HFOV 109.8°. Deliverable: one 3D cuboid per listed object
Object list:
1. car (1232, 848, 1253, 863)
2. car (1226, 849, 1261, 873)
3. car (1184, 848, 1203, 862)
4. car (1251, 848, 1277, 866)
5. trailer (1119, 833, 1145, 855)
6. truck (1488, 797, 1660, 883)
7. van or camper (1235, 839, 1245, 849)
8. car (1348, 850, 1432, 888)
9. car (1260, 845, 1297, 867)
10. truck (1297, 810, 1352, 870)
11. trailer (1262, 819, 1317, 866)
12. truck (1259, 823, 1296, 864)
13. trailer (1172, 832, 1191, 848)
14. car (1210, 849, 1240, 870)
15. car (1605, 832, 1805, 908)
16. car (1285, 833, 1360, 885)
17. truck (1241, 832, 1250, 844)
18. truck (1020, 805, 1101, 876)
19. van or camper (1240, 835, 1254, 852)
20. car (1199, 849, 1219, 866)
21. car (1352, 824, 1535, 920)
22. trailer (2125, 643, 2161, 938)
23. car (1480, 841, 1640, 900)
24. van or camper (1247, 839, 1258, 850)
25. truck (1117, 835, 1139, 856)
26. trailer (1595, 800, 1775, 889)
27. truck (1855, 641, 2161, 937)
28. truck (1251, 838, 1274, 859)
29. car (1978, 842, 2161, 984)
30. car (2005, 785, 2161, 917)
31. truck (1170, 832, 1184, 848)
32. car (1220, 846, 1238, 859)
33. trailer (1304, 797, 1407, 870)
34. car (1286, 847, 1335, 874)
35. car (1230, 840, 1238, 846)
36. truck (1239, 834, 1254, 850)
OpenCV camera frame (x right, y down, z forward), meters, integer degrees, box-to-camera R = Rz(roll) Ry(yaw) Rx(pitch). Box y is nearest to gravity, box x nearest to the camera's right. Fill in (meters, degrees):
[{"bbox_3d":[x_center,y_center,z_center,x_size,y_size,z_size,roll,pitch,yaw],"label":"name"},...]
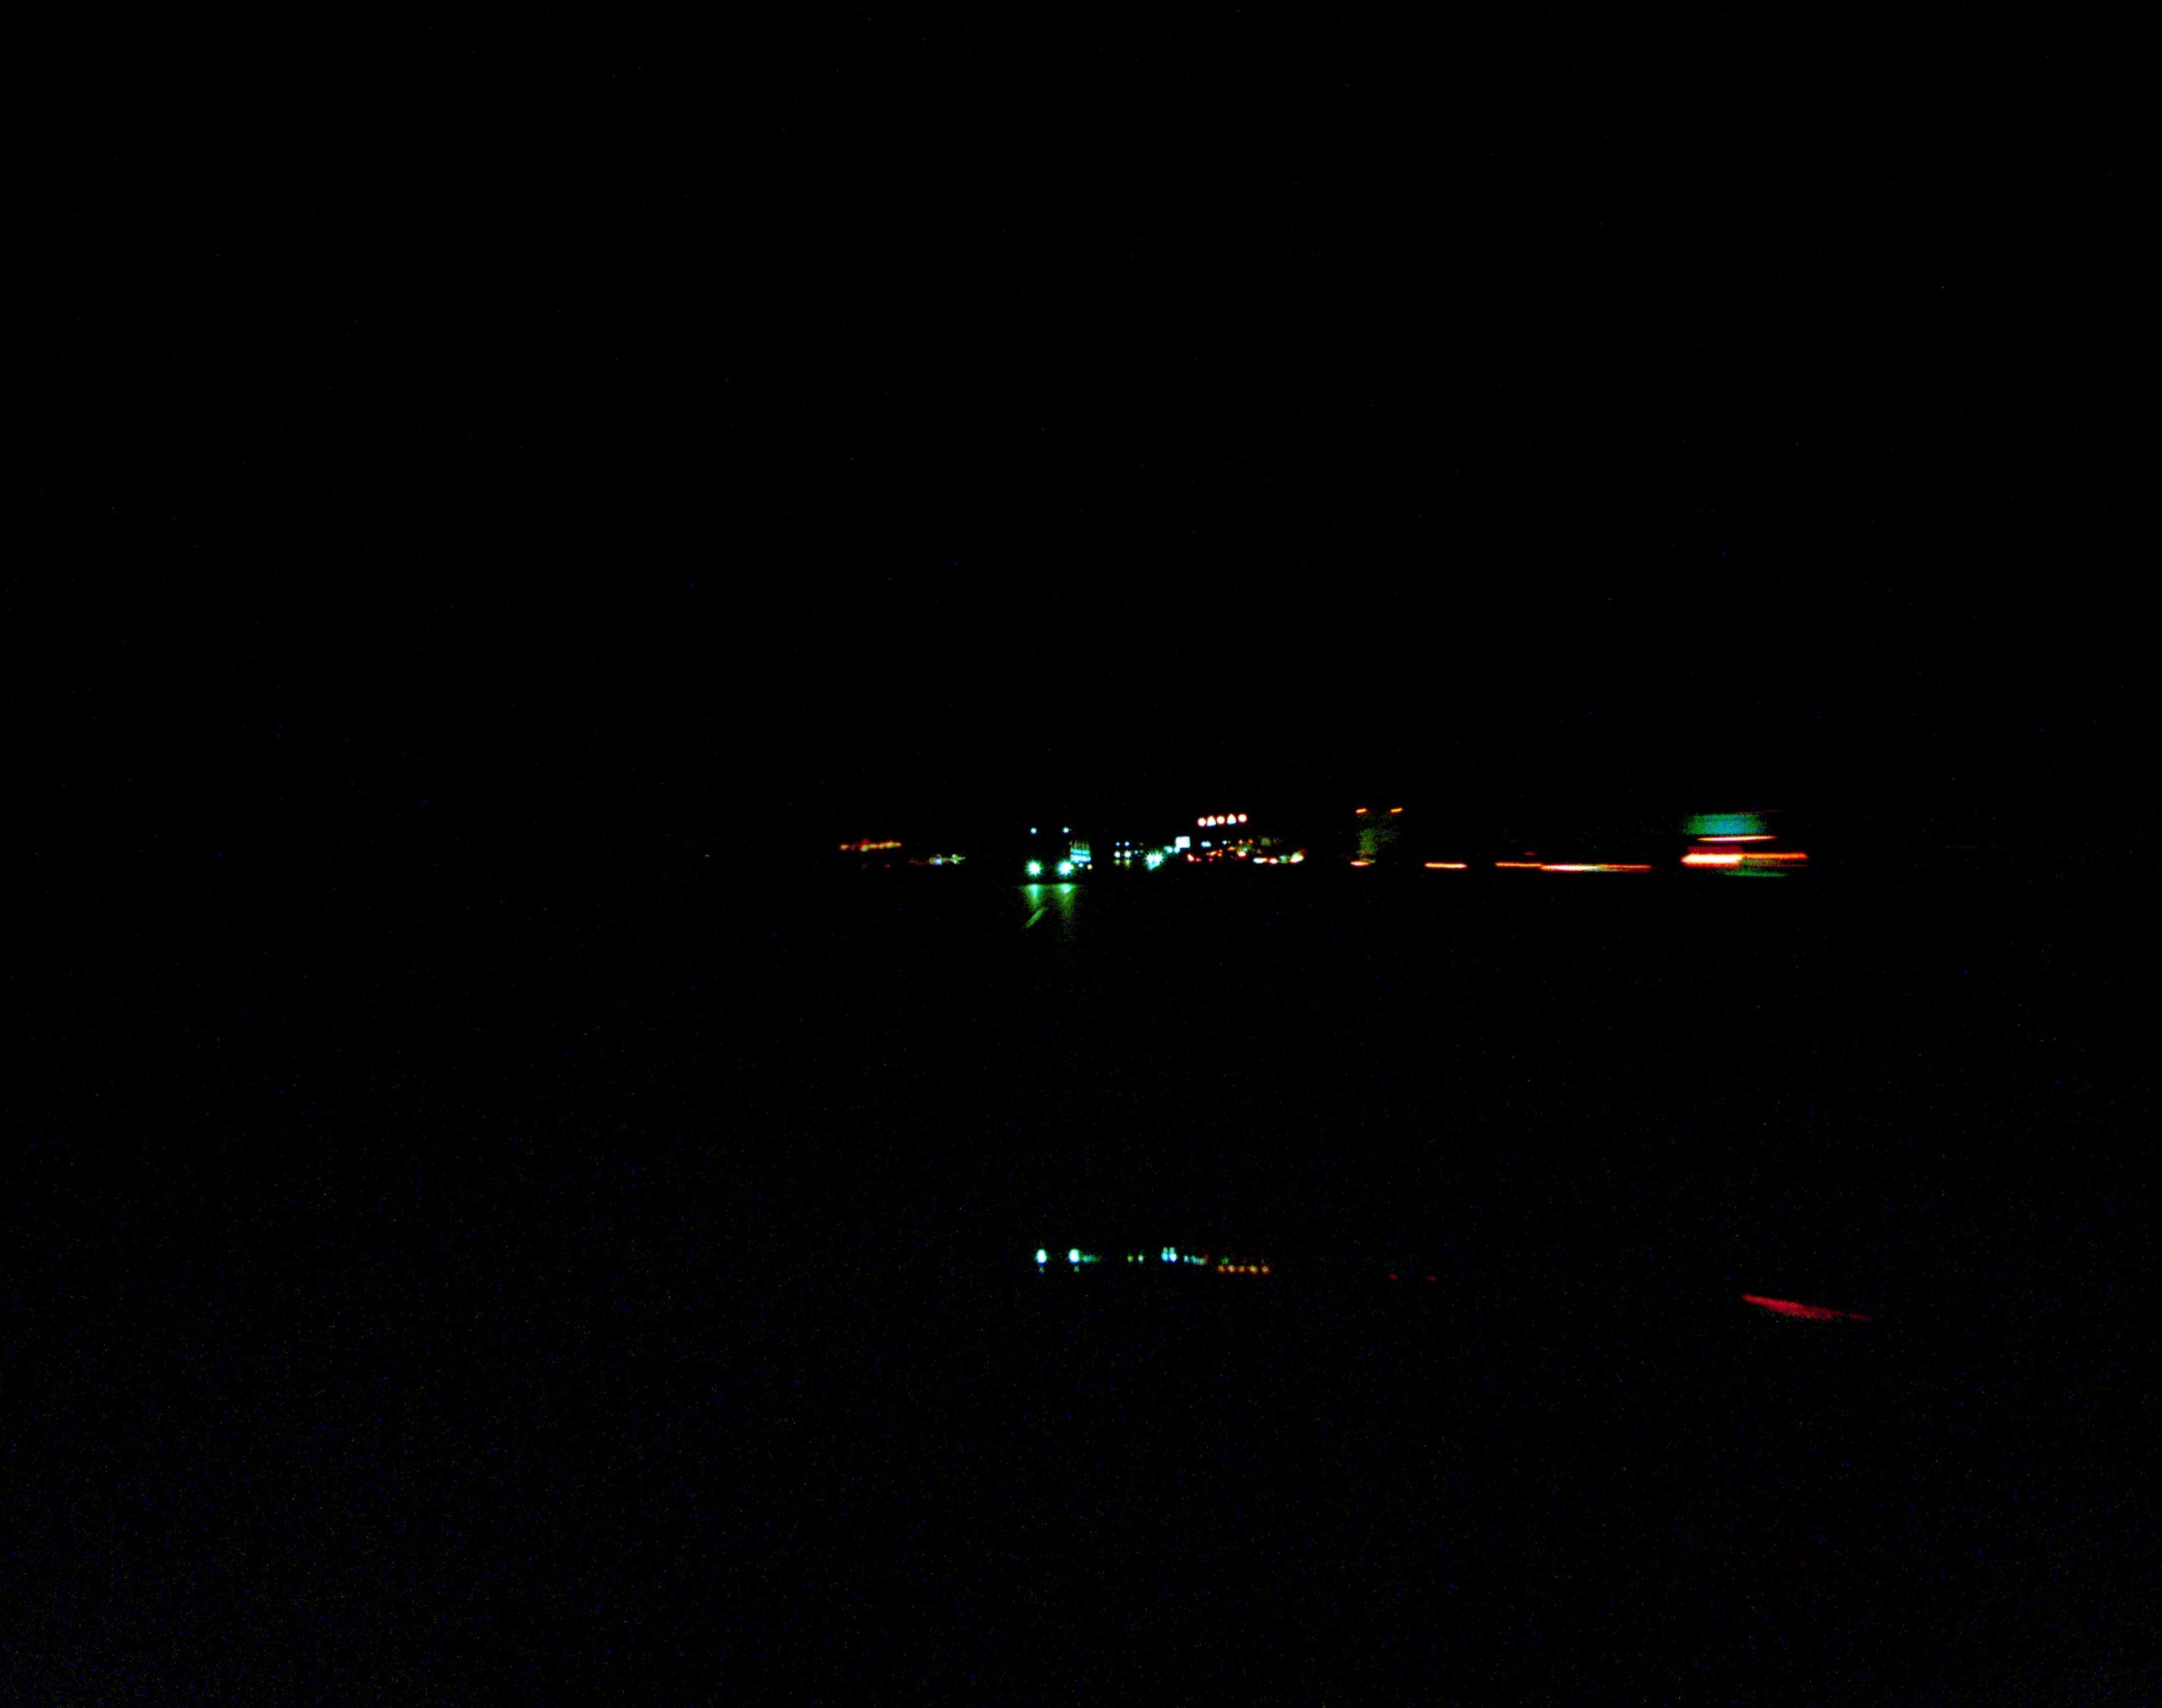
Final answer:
[{"bbox_3d":[17.161,0.167,80.772,1.907,1.483,4.870,-2,1,9],"label":"car"},{"bbox_3d":[10.743,0.418,50.518,1.629,1.483,4.869,-2,0,5],"label":"car"},{"bbox_3d":[13.282,0.095,89.623,1.907,1.483,4.871,-2,1,12],"label":"car"},{"bbox_3d":[17.148,0.242,71.283,1.907,1.483,5.262,-2,1,9],"label":"car"},{"bbox_3d":[10.726,-2.120,158.516,2.878,3.910,12.893,-3,3,14],"label":"trailer"},{"bbox_3d":[20.840,-0.551,32.802,2.500,3.200,7.914,-1,0,2],"label":"truck"},{"bbox_3d":[43.137,-2.631,206.199,2.258,2.580,6.691,0,2,14],"label":"van or camper"},{"bbox_3d":[13.536,0.612,33.608,1.908,1.483,4.868,-2,1,3],"label":"car"},{"bbox_3d":[14.652,0.130,56.474,1.908,1.483,4.869,-2,0,6],"label":"car"},{"bbox_3d":[19.035,-1.069,59.626,2.622,4.244,5.959,-4,1,5],"label":"truck"},{"bbox_3d":[20.684,-1.078,76.345,2.881,4.159,14.528,-2,0,6],"label":"trailer"},{"bbox_3d":[21.450,-1.137,83.218,2.871,4.186,6.108,-2,1,5],"label":"truck"},{"bbox_3d":[27.901,-4.037,210.459,2.837,3.953,15.775,-3,2,15],"label":"trailer"},{"bbox_3d":[11.783,0.416,62.259,1.908,1.483,4.869,-2,1,5],"label":"car"},{"bbox_3d":[16.632,0.388,20.597,1.998,1.800,4.320,-2,0,3],"label":"car"},{"bbox_3d":[9.827,0.158,31.286,1.880,1.912,4.869,-2,1,5],"label":"car"},{"bbox_3d":[55.753,-5.434,257.112,2.658,3.571,8.556,0,3,15],"label":"truck"},{"bbox_3d":[-0.974,-0.823,54.167,3.490,4.110,18.715,-2,0,5],"label":"truck"},{"bbox_3d":[29.419,-1.870,135.090,2.226,2.986,7.129,-2,1,11],"label":"van or camper"},{"bbox_3d":[12.778,0.323,76.035,1.907,1.483,4.870,-2,1,9],"label":"car"},{"bbox_3d":[8.410,0.391,18.359,1.880,1.911,5.605,-2,0,2],"label":"car"},{"bbox_3d":[15.974,-0.884,6.099,2.828,3.894,8.736,-1,0,-5],"label":"trailer"},{"bbox_3d":[12.419,0.387,20.014,1.632,1.342,3.999,-2,0,-1],"label":"car"},{"bbox_3d":[45.074,-2.465,199.700,2.448,2.745,6.493,-1,2,15],"label":"van or camper"},{"bbox_3d":[9.649,-1.841,153.998,2.871,3.819,8.058,-1,3,14],"label":"truck"},{"bbox_3d":[20.633,-0.307,26.333,2.369,2.728,4.992,-1,0,2],"label":"trailer"},{"bbox_3d":[15.556,-0.872,11.335,2.836,3.893,4.933,-1,0,-5],"label":"truck"},{"bbox_3d":[22.901,-0.690,95.773,1.998,2.444,5.052,-2,1,4],"label":"truck"},{"bbox_3d":[12.206,0.607,7.188,1.952,1.435,4.649,-2,0,0],"label":"car"},{"bbox_3d":[20.518,-0.083,13.774,1.999,2.385,4.511,-2,0,-1],"label":"car"},{"bbox_3d":[25.711,-3.694,202.624,2.897,3.950,4.003,-3,2,15],"label":"truck"},{"bbox_3d":[17.728,-0.177,91.060,1.907,1.483,4.940,-2,1,9],"label":"car"},{"bbox_3d":[18.799,-1.312,53.364,2.846,4.439,14.525,-1,1,4],"label":"trailer"},{"bbox_3d":[14.090,0.377,46.925,1.908,1.483,4.869,-2,1,5],"label":"car"},{"bbox_3d":[45.977,-3.305,227.716,1.836,1.443,4.510,-2,0,17],"label":"car"},{"bbox_3d":[33.632,-2.480,154.542,2.379,3.242,7.726,0,2,9],"label":"truck"}]
